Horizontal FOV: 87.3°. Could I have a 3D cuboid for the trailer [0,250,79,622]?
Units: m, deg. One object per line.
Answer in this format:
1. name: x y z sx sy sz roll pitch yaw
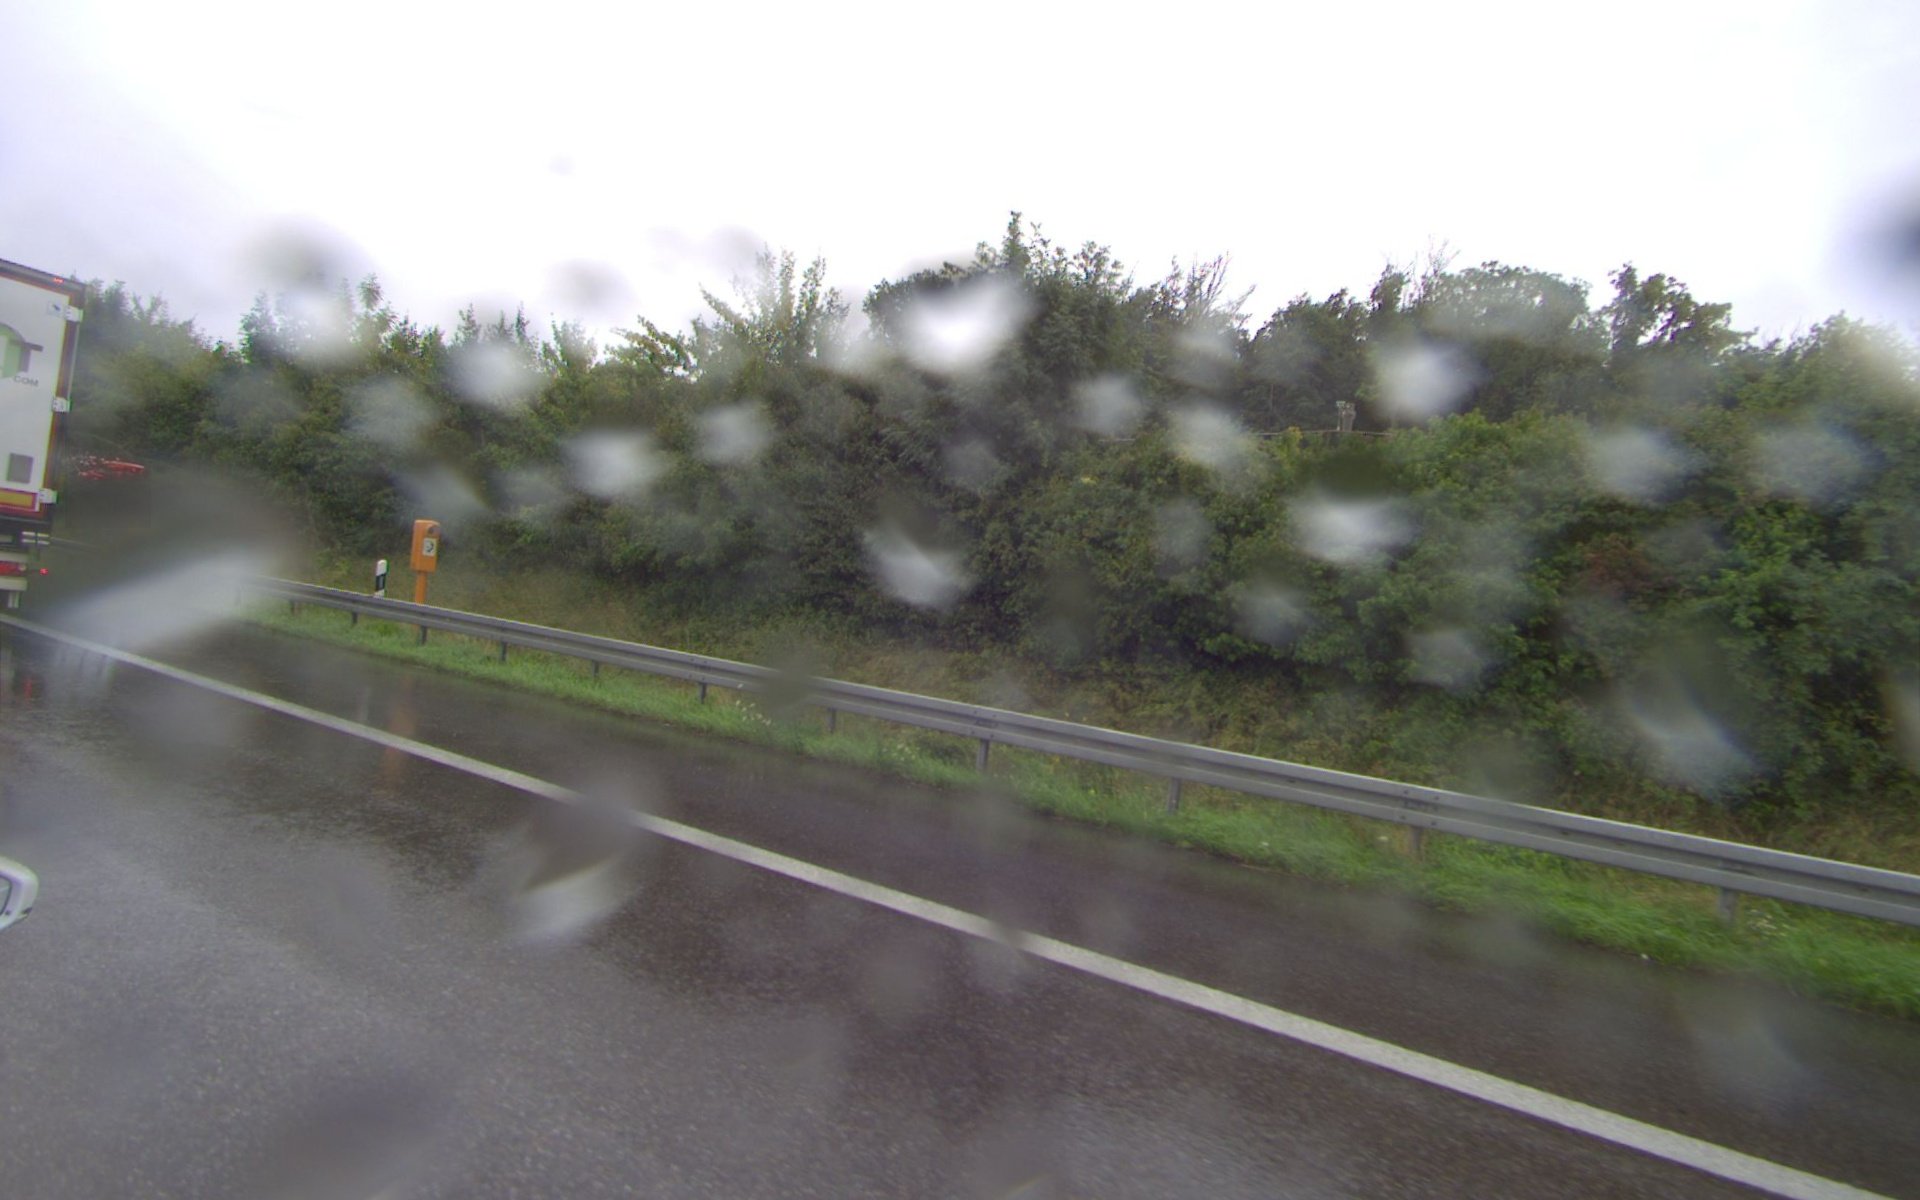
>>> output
1. trailer: -17.193 -2.633 14.266 14.385 4.061 2.635 7 0 32
